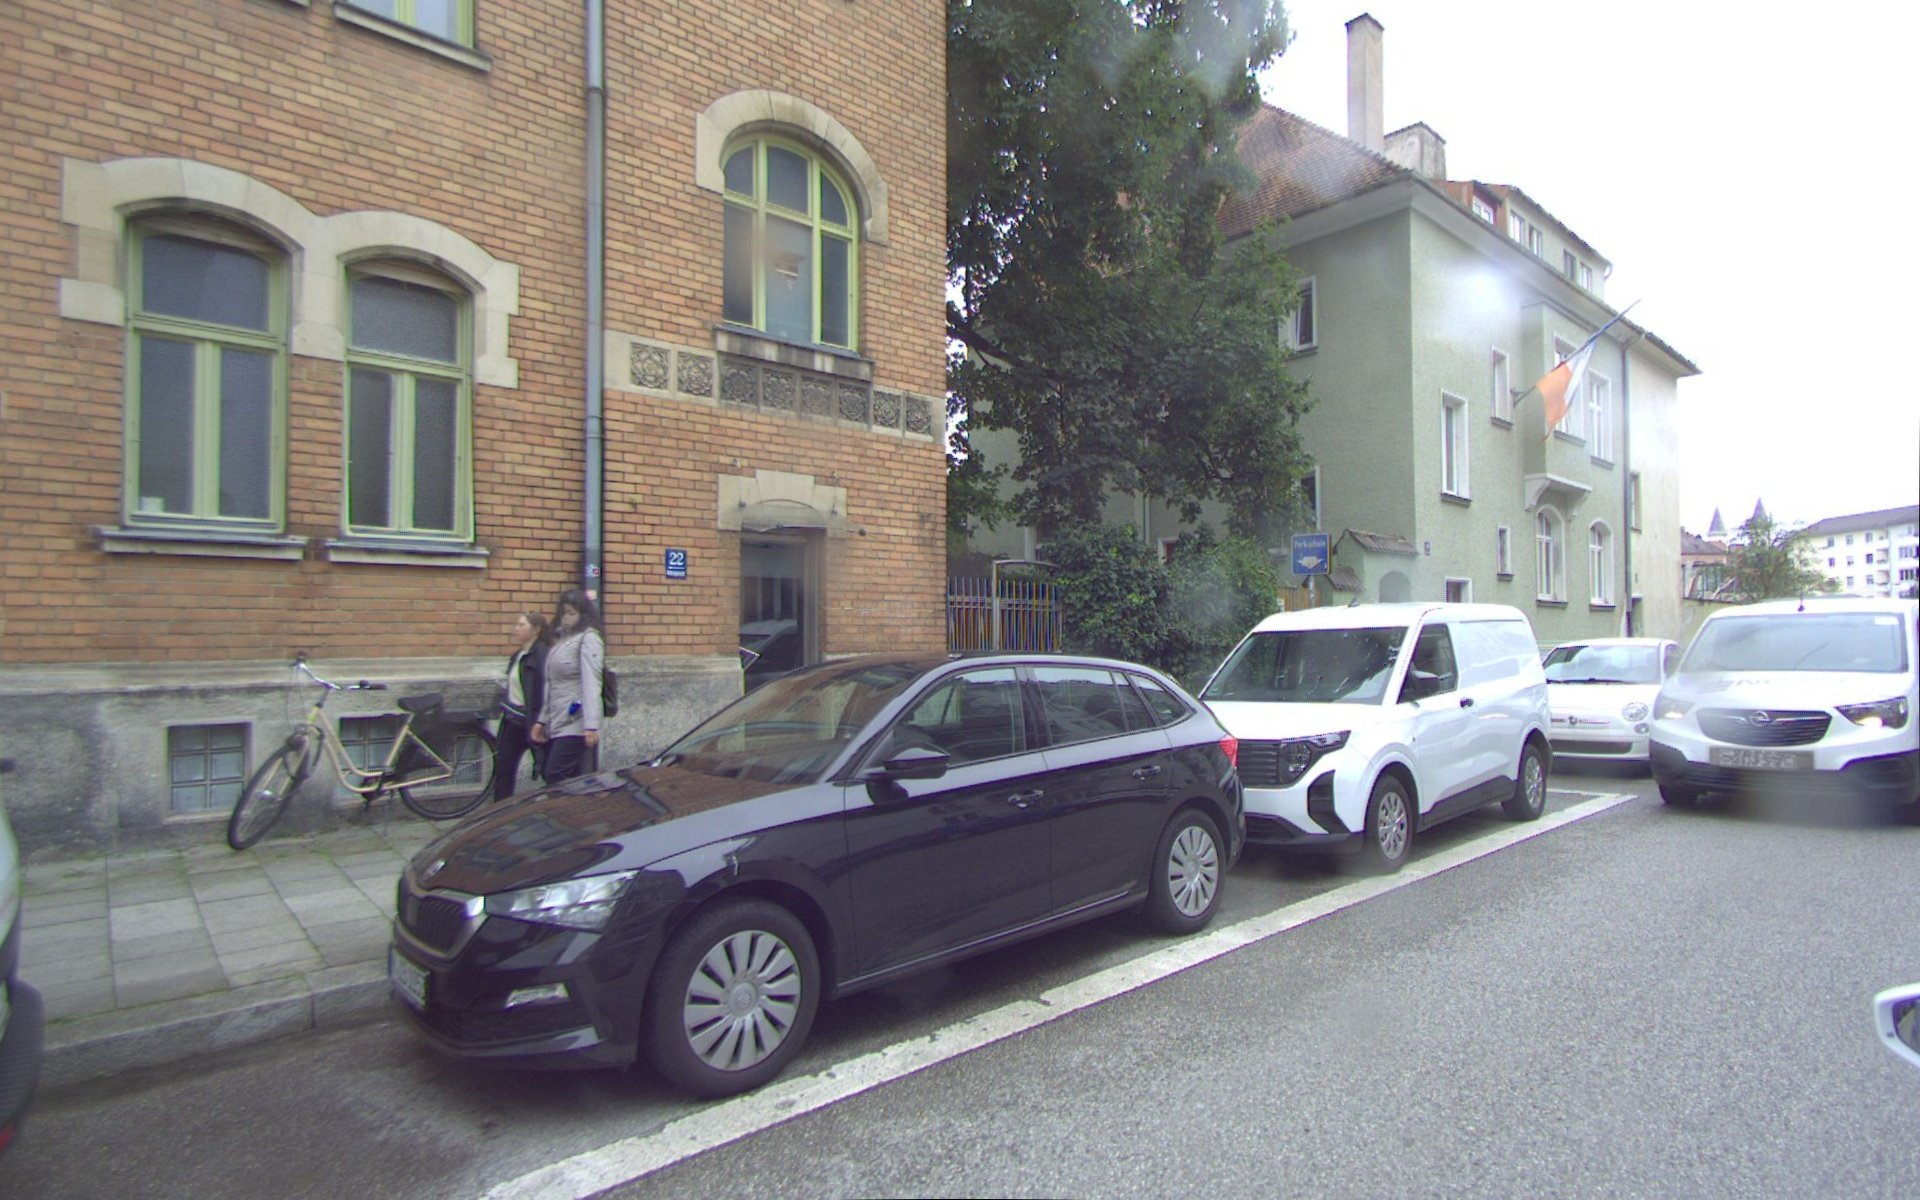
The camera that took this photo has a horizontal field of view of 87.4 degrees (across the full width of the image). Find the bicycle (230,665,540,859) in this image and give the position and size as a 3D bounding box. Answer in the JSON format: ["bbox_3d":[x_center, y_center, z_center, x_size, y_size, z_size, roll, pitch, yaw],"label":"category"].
[{"bbox_3d":[-3.998,1.064,7.090,1.813,1.143,0.626,1,-2,-41],"label":"bicycle"}]

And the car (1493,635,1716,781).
[{"bbox_3d":[7.742,1.182,11.964,3.291,1.485,1.459,2,-4,-44],"label":"car"}]

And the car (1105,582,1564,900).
[{"bbox_3d":[3.094,0.896,7.830,4.116,1.827,1.674,2,-4,-43],"label":"car"}]

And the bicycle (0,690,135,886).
[{"bbox_3d":[-5.660,1.045,5.376,1.909,0.998,0.497,1,0,-41],"label":"bicycle"}]

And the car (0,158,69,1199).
[{"bbox_3d":[-4.469,0.350,1.071,5.183,2.510,1.965,2,-4,-41],"label":"car"}]

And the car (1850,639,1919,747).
[{"bbox_3d":[14.085,1.276,14.374,3.585,1.429,1.567,2,-3,-42],"label":"car"}]

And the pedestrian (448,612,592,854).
[{"bbox_3d":[-3.031,0.862,6.912,0.721,1.533,0.690,2,0,-38],"label":"pedestrian"}]

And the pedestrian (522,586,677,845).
[{"bbox_3d":[-2.318,0.691,6.455,0.721,1.533,0.690,2,0,-38],"label":"pedestrian"}]

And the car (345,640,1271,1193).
[{"bbox_3d":[-0.381,0.962,4.769,4.115,1.461,1.675,1,-4,-42],"label":"car"}]

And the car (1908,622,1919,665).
[{"bbox_3d":[45.427,1.958,46.420,4.566,1.957,1.866,1,-4,-42],"label":"car"}]

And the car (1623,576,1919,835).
[{"bbox_3d":[7.944,0.861,9.251,4.534,1.827,1.758,2,-4,-39],"label":"car"}]

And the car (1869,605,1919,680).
[{"bbox_3d":[35.987,1.540,37.712,5.334,2.671,2.070,1,-2,-41],"label":"car"}]

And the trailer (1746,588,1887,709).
[{"bbox_3d":[19.532,1.093,22.842,4.352,2.493,1.695,1,-4,-41],"label":"trailer"}]
